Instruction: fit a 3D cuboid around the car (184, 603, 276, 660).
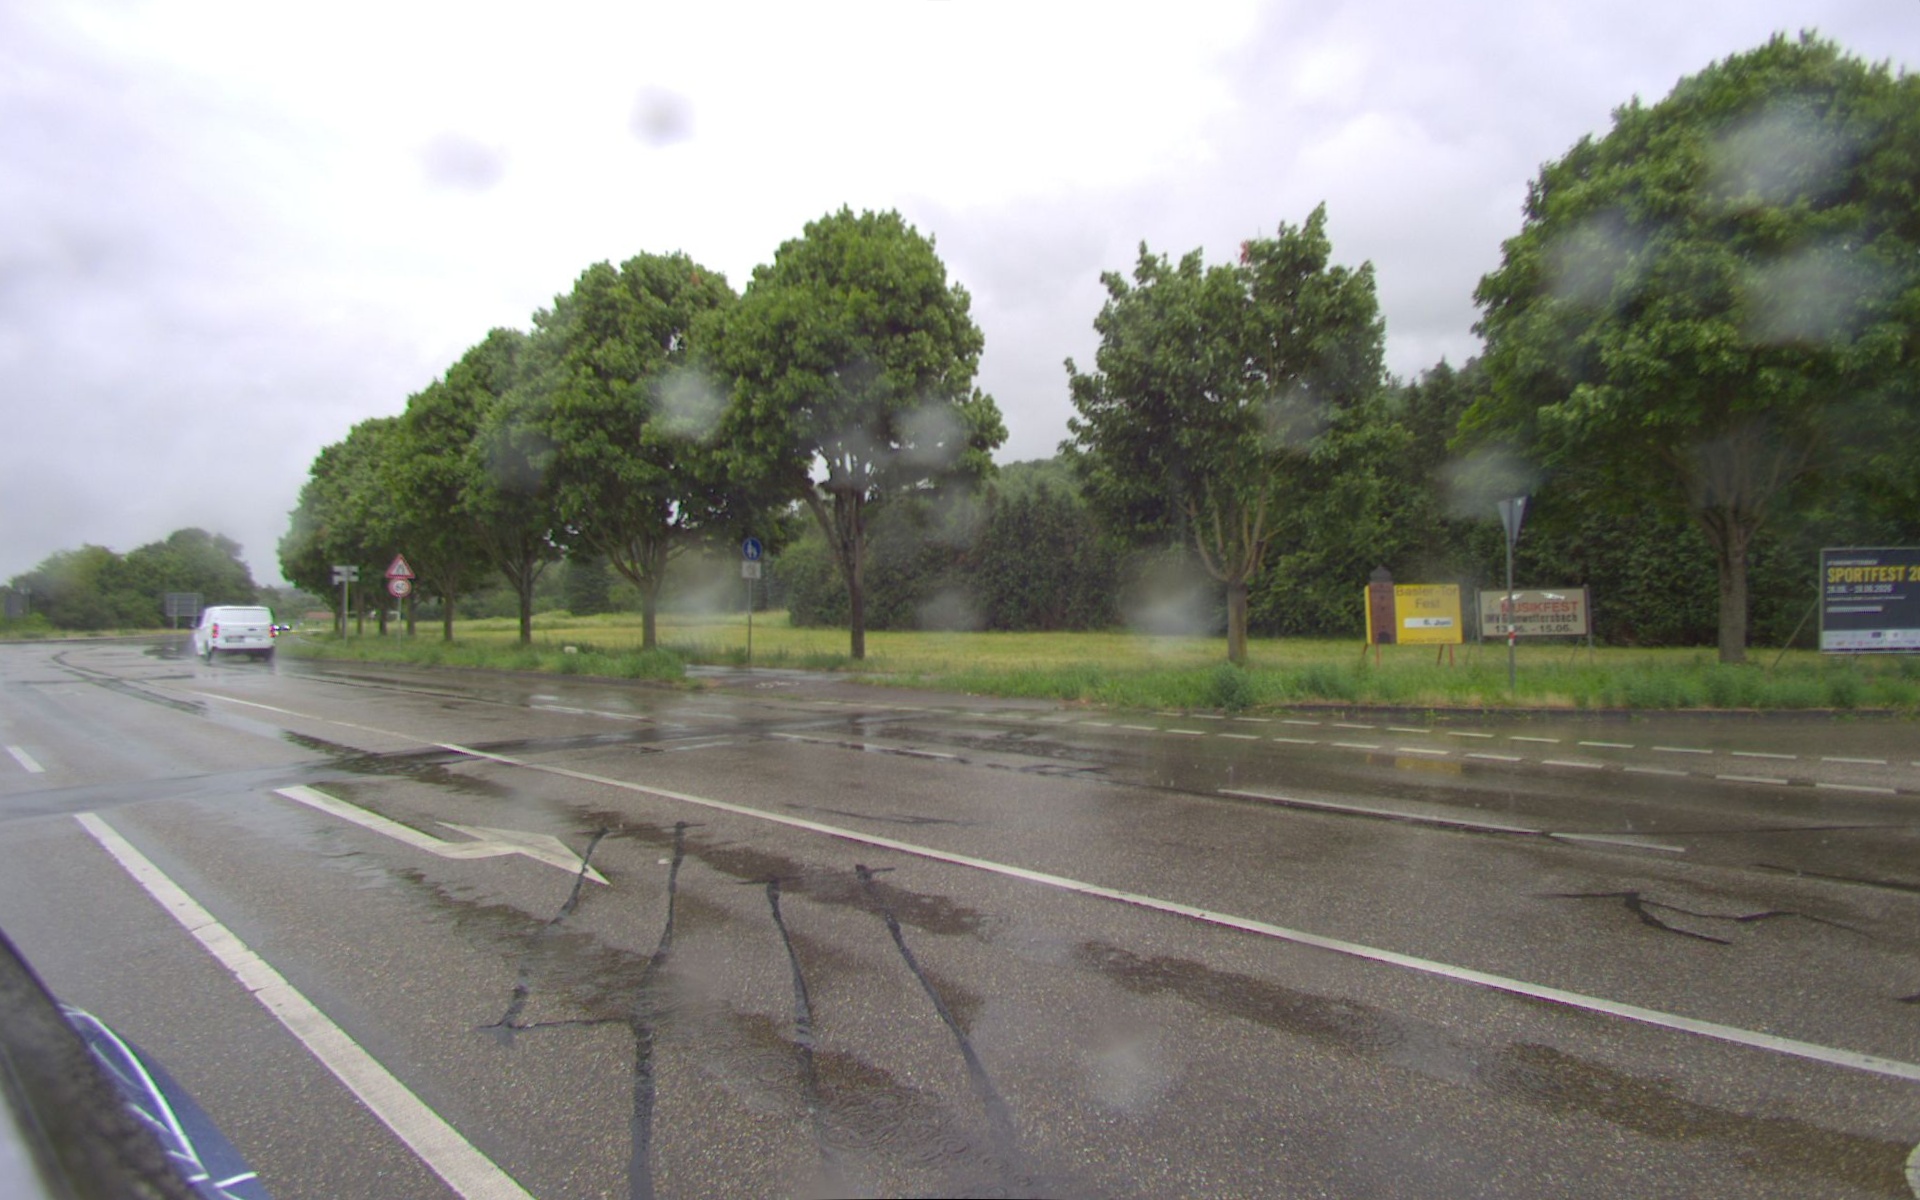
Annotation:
[{"bbox_3d":[-26.718,1.127,36.971,2.082,1.907,4.794,0,-1,-44],"label":"car"}]
